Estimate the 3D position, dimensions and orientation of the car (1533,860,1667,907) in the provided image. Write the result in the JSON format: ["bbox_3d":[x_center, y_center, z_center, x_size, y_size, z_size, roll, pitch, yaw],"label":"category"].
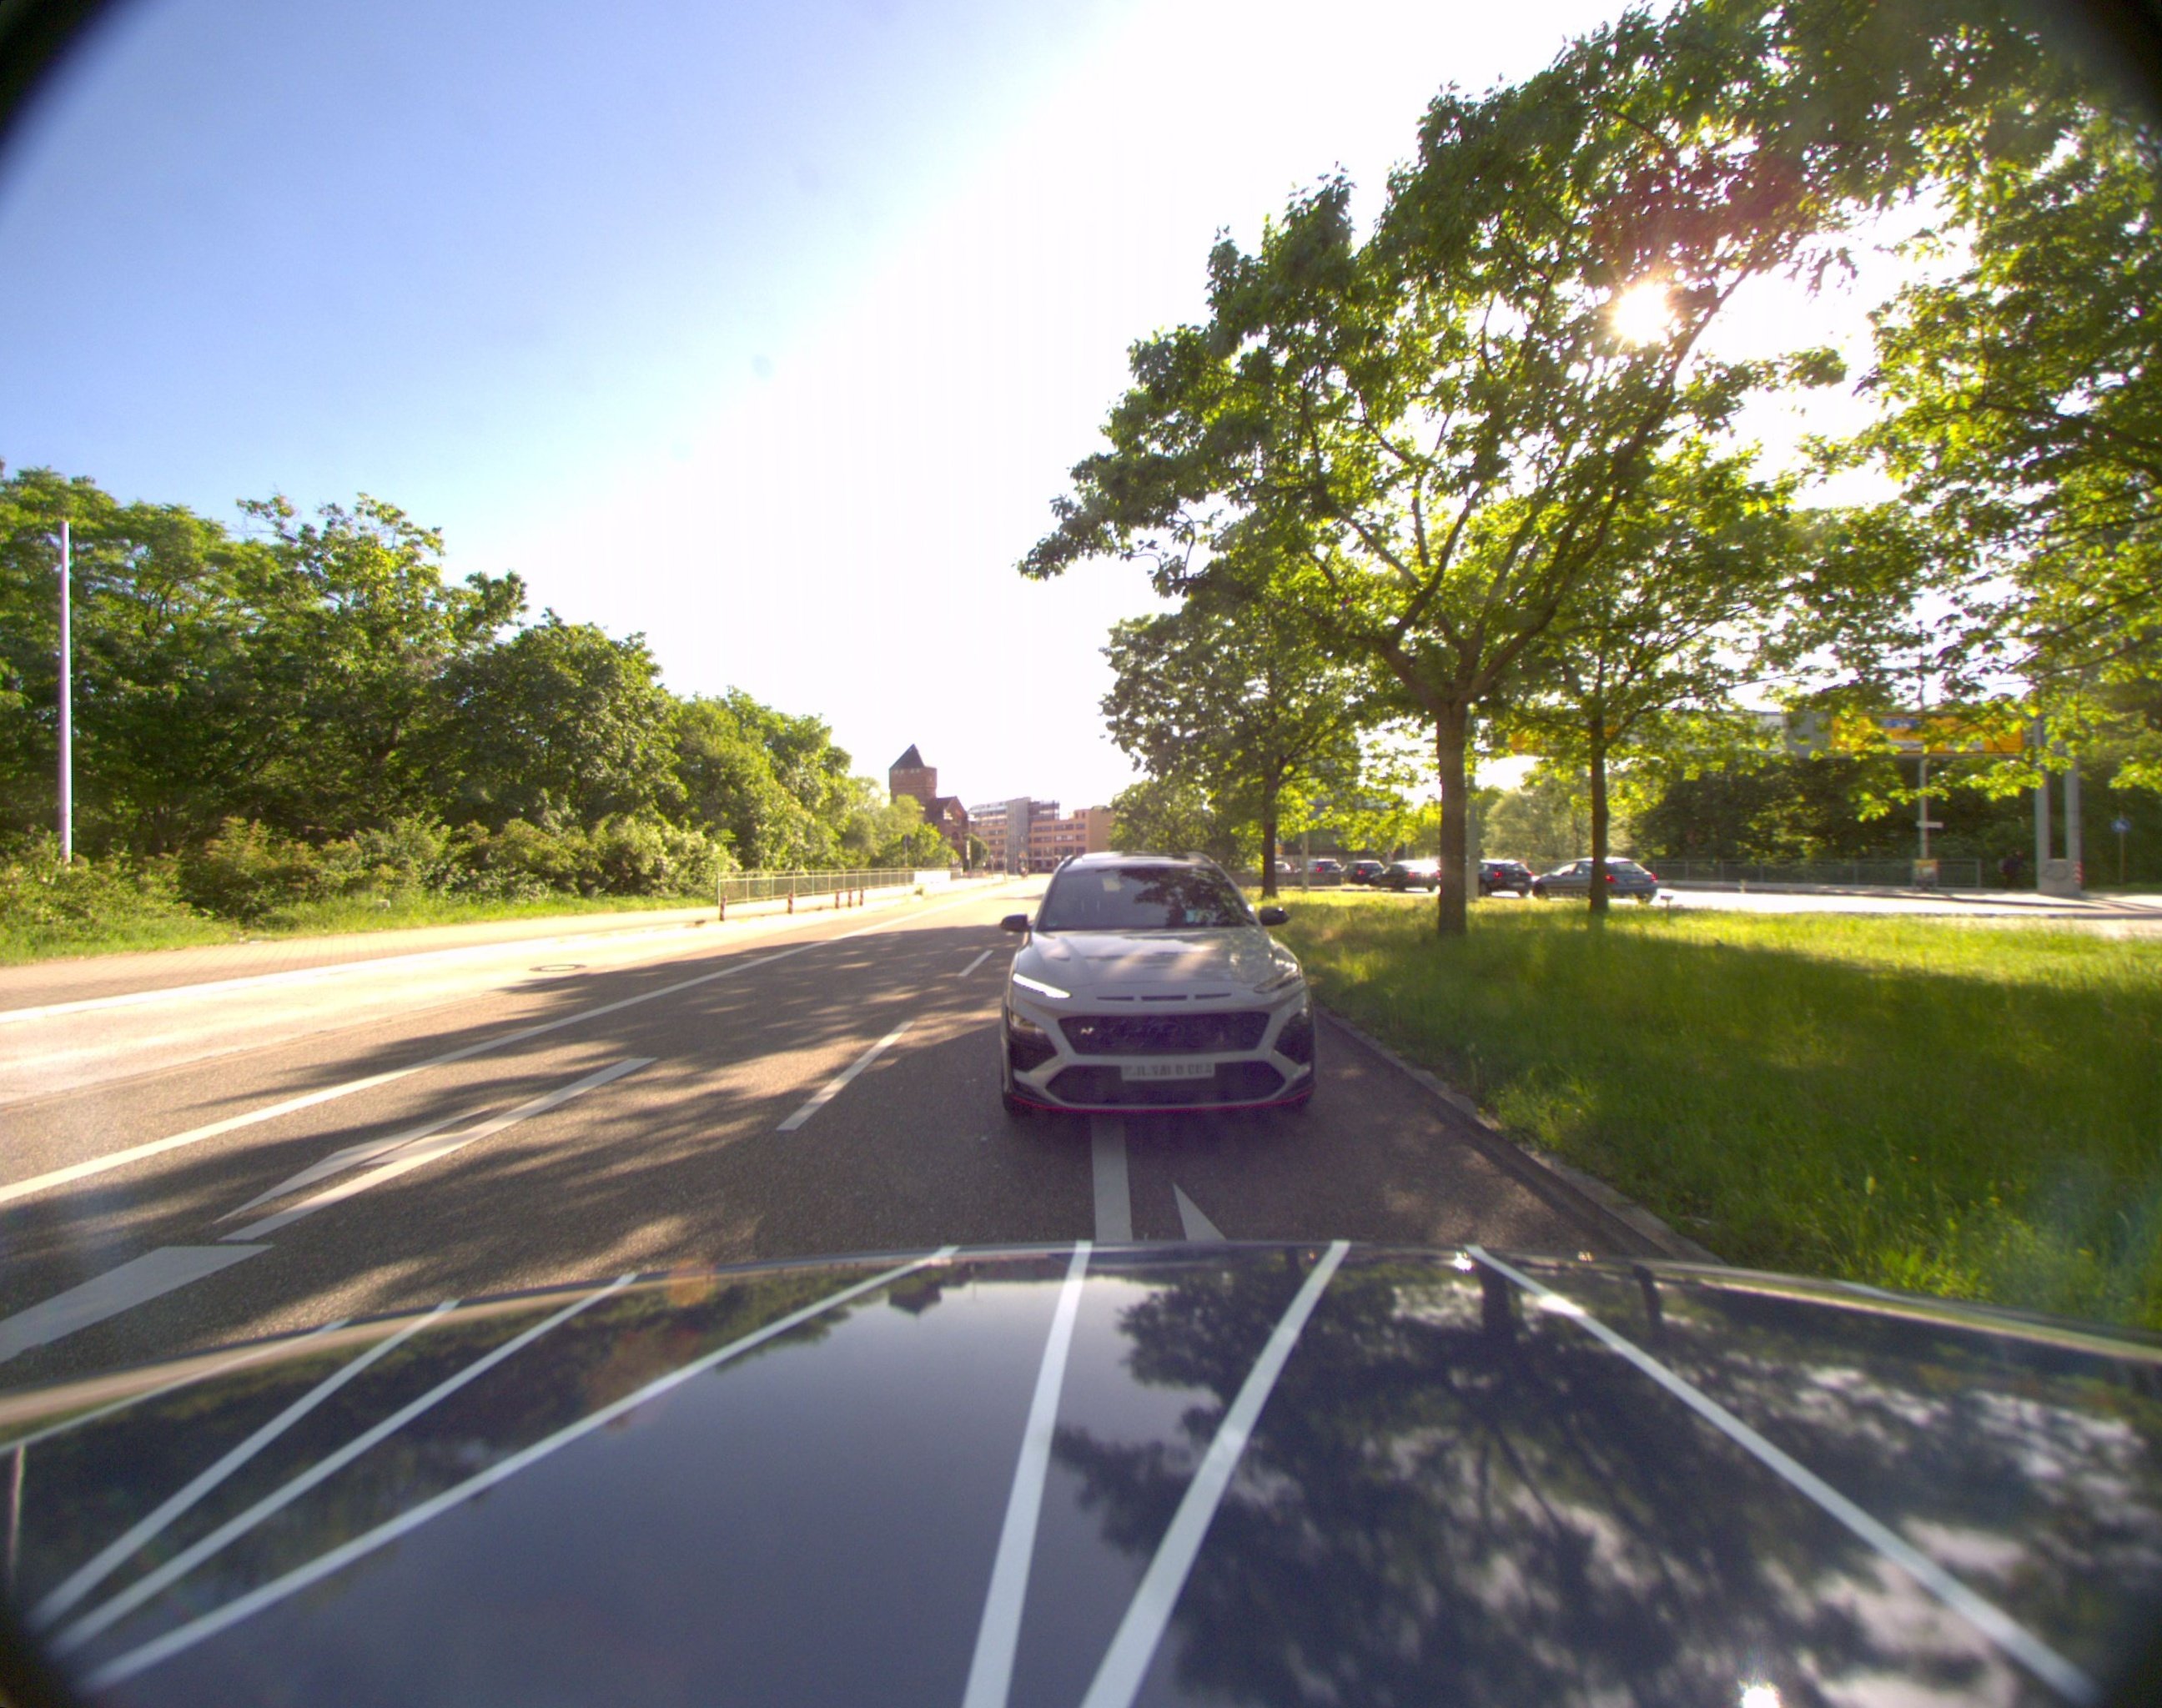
[{"bbox_3d":[16.393,0.885,24.233,1.561,1.355,3.608,-1,-1,-6],"label":"car"}]

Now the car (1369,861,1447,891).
[{"bbox_3d":[15.479,1.002,36.212,1.623,1.305,4.066,-1,0,-6],"label":"car"}]

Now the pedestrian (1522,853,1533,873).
[{"bbox_3d":[32.768,0.666,55.731,0.421,1.490,0.545,-1,0,-7],"label":"pedestrian"}]

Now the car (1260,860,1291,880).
[{"bbox_3d":[14.330,1.211,56.081,1.228,1.331,2.882,-1,-3,-6],"label":"car"}]

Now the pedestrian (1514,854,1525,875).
[{"bbox_3d":[32.395,0.777,56.129,0.421,1.490,0.545,-1,0,-7],"label":"pedestrian"}]

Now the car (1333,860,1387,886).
[{"bbox_3d":[15.156,1.038,41.468,1.481,1.331,3.202,-1,-1,-6],"label":"car"}]

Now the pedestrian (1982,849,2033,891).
[{"bbox_3d":[36.387,0.638,29.864,0.912,1.620,0.990,-1,0,25],"label":"pedestrian"}]

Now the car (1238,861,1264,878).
[{"bbox_3d":[13.940,1.285,62.411,1.199,1.252,2.768,-1,-2,-6],"label":"car"}]

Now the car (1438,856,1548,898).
[{"bbox_3d":[16.191,0.850,30.139,1.875,1.541,4.221,-1,0,-4],"label":"car"}]

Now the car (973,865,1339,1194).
[{"bbox_3d":[0.390,0.885,5.679,1.752,1.523,3.988,-1,0,1],"label":"car"}]

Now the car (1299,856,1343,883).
[{"bbox_3d":[14.973,0.998,47.551,1.450,1.549,3.202,-1,-2,-6],"label":"car"}]
